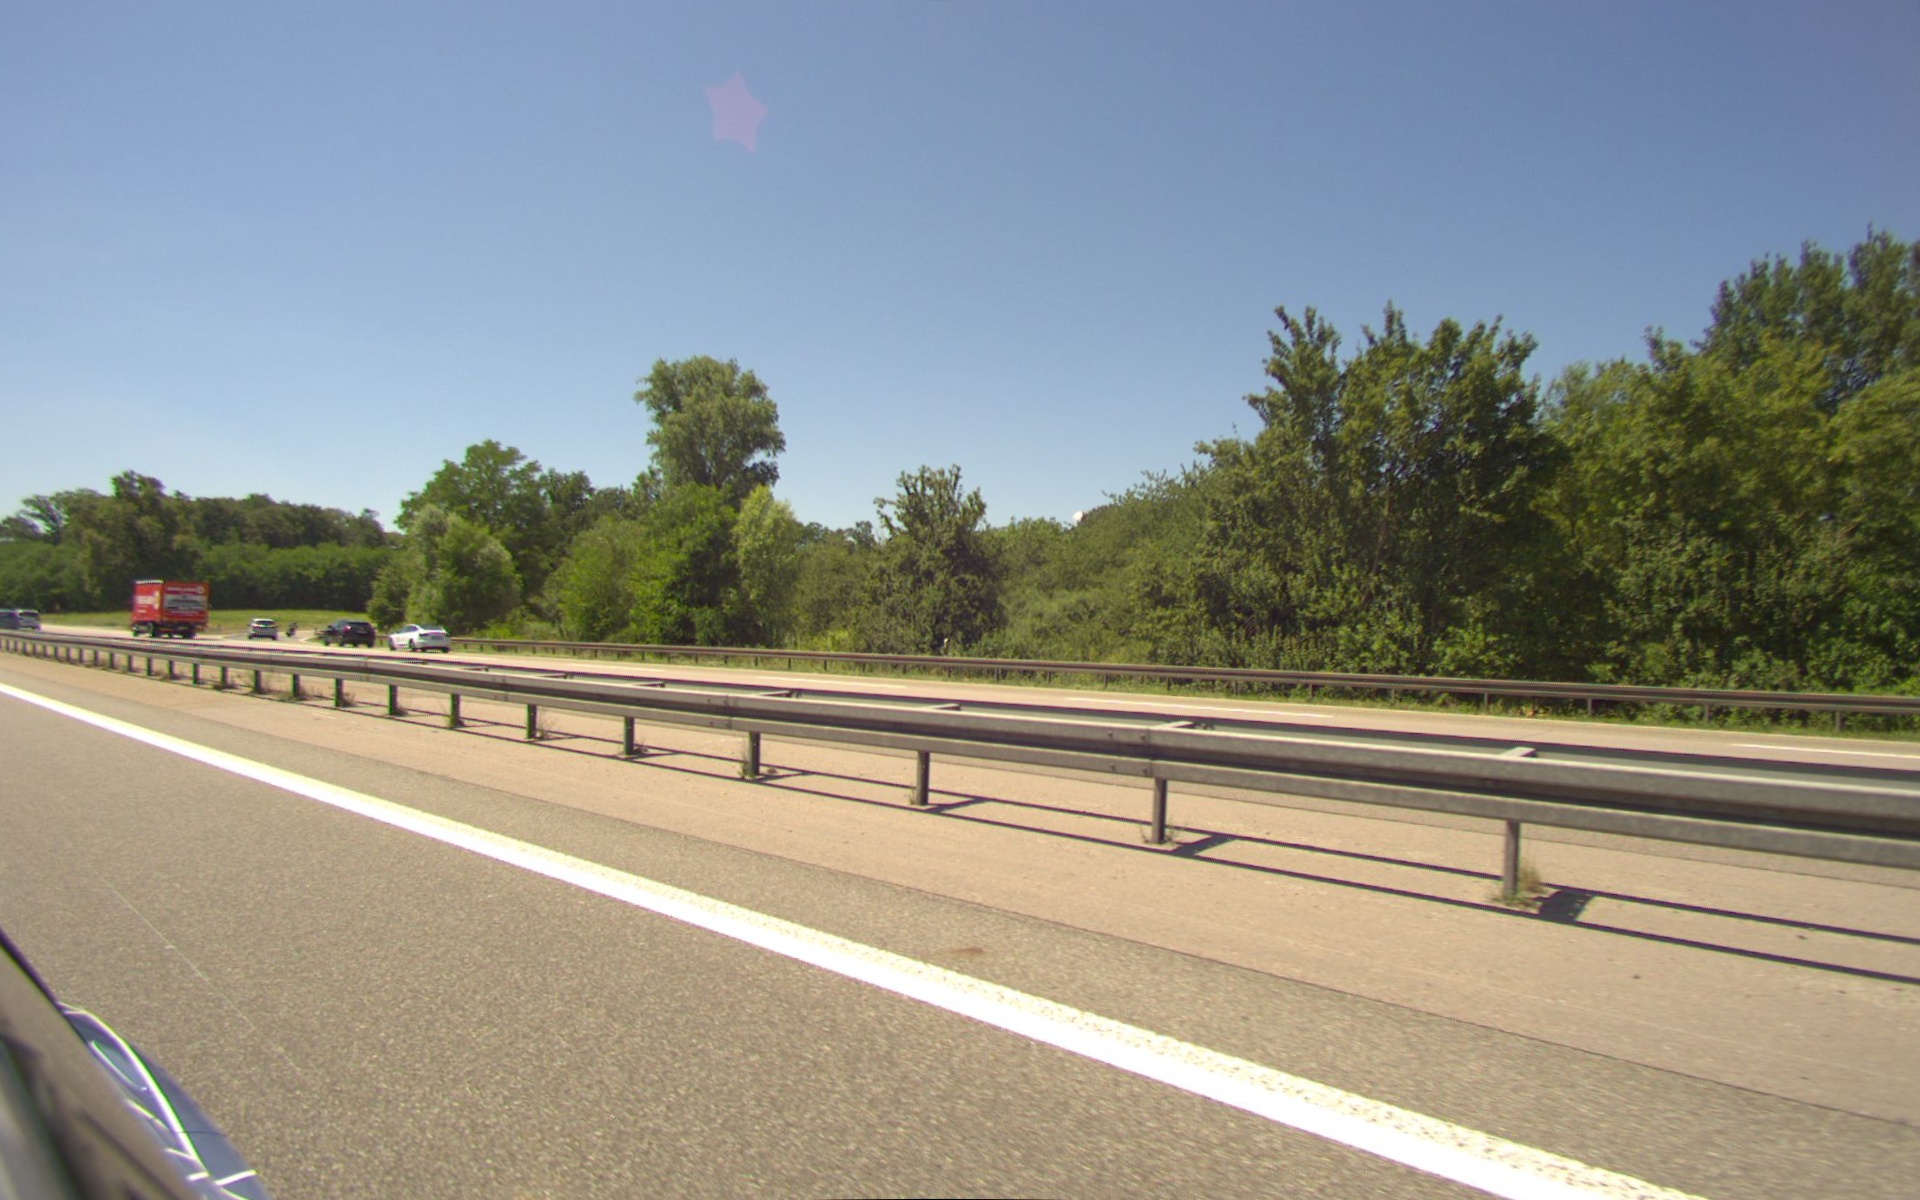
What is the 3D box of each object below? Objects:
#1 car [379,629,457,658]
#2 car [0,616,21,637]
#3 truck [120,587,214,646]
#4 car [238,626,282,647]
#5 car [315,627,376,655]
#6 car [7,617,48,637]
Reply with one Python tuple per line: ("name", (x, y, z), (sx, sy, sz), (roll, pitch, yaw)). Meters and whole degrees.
("car", (-28.427, 2.237, 53.010), (4.970, 1.423, 1.973), (-1, -2, 41))
("car", (-70.423, 1.919, 74.065), (4.113, 1.517, 1.877), (-1, -2, 39))
("truck", (-54.097, 1.153, 68.943), (9.798, 3.755, 3.033), (-1, -3, 40))
("car", (-54.033, 2.804, 78.094), (1.970, 1.521, 4.724), (5, -4, -44))
("car", (-36.673, 2.442, 60.321), (4.267, 1.590, 1.972), (-1, -3, 42))
("car", (-79.399, 2.265, 86.132), (4.541, 1.638, 1.973), (-1, -3, 41))
